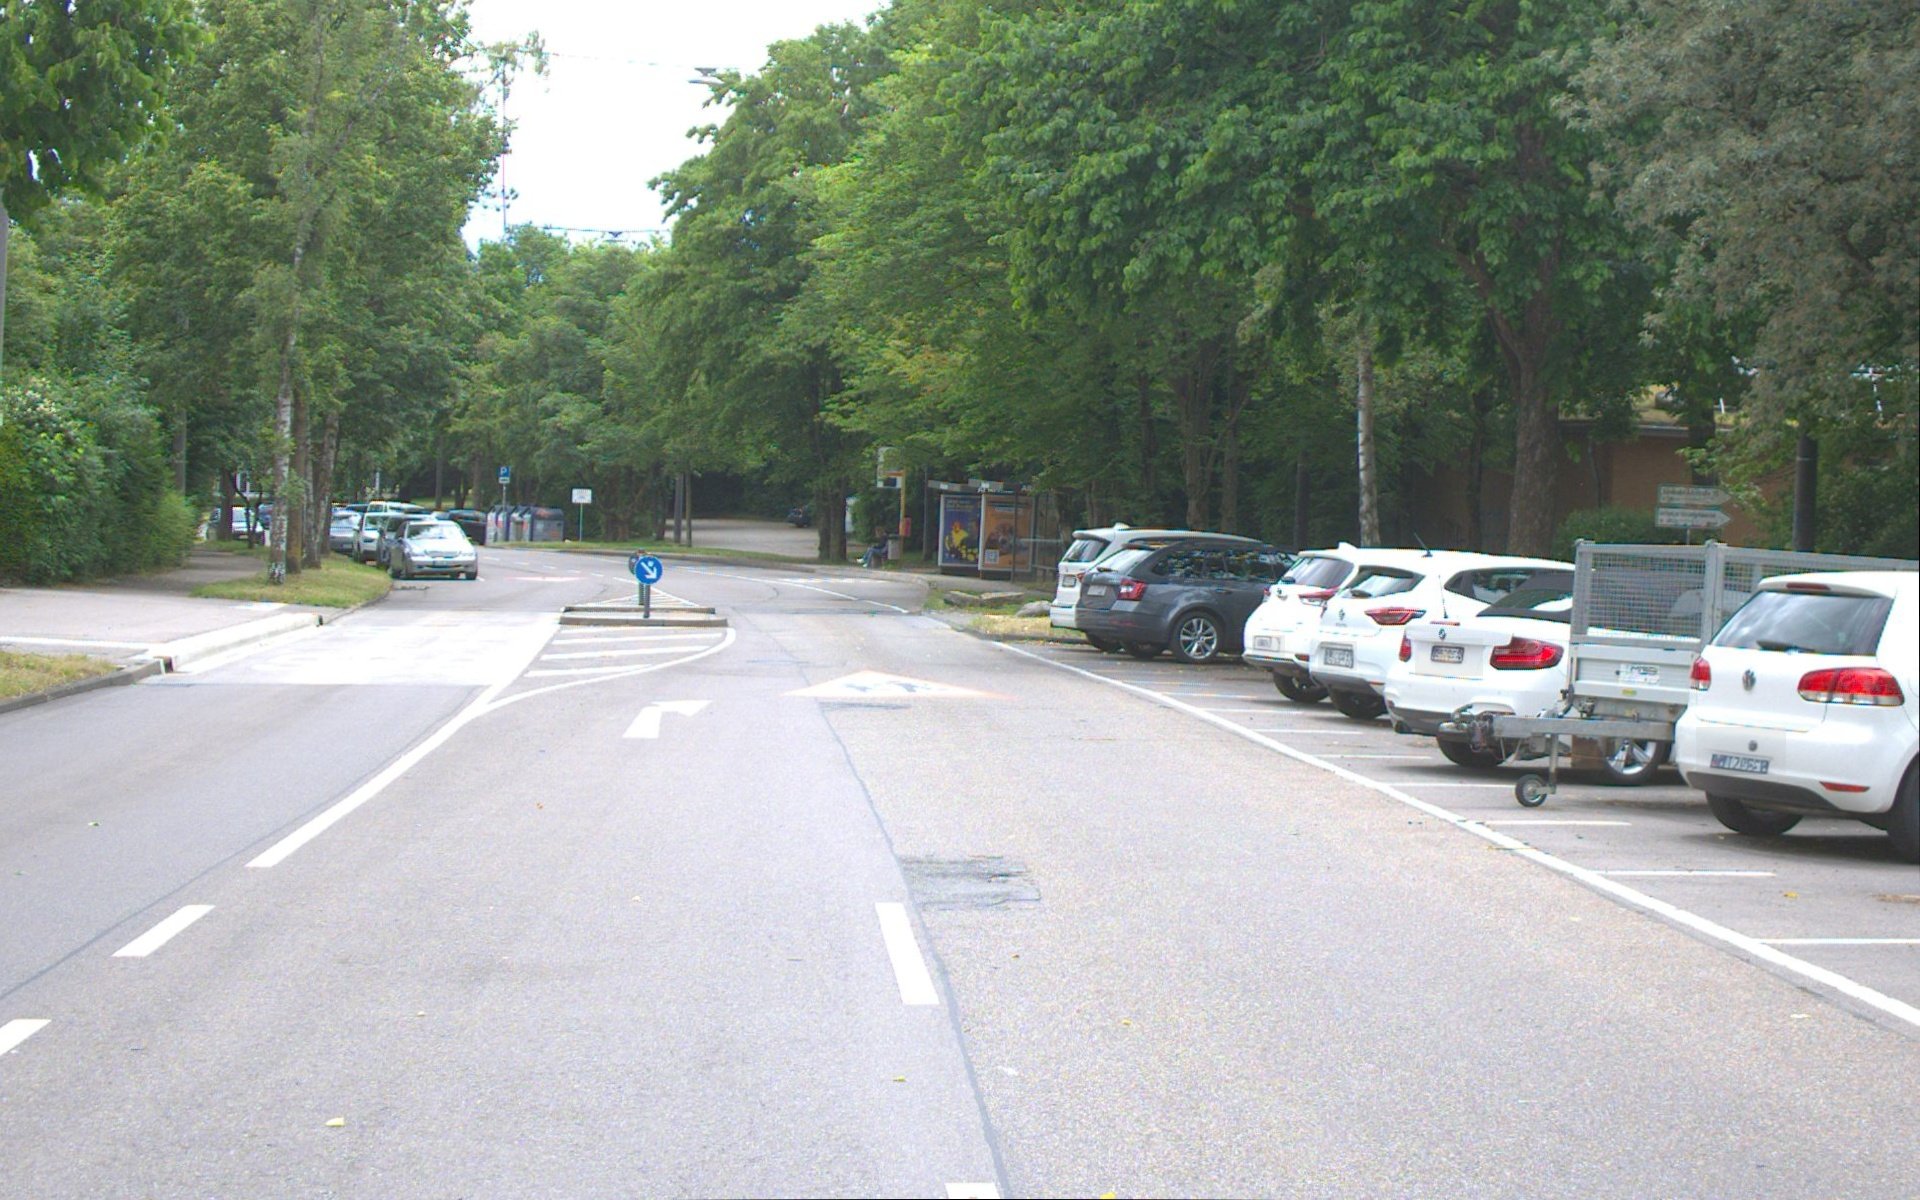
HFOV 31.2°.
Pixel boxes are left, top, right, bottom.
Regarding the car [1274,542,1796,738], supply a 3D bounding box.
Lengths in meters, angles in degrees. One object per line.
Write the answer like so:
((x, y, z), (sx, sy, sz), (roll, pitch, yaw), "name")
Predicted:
((4.860, 0.340, 29.024), (3.986, 1.459, 1.796), (2, 1, -26), "car")

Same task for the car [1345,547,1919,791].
((4.827, 0.471, 23.241), (3.986, 1.459, 1.851), (2, 1, -26), "car")

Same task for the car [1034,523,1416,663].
((3.392, -0.096, 44.283), (4.466, 1.580, 1.907), (3, 1, -14), "car")

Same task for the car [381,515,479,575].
((-12.911, -1.352, 83.629), (1.735, 1.411, 4.474), (0, 2, -17), "car")

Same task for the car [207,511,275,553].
((-28.674, -2.724, 137.068), (1.804, 1.557, 4.268), (-3, 3, -23), "car")

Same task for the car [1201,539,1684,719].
((4.456, 0.265, 31.740), (3.986, 1.459, 1.866), (2, 1, -26), "car")

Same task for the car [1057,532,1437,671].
((3.444, 0.017, 41.466), (4.131, 1.459, 1.799), (3, 1, -15), "car")

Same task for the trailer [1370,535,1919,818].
((4.629, 0.450, 20.441), (3.986, 1.547, 1.659), (1, 1, -20), "trailer")

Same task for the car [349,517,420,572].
((-16.923, -1.647, 100.966), (1.735, 1.573, 4.143), (0, 2, -14), "car")

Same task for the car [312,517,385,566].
((-19.947, -1.910, 112.028), (1.865, 1.532, 4.228), (0, 1, -17), "car")

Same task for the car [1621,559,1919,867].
((5.735, 0.615, 18.386), (3.986, 1.459, 1.792), (2, 1, -26), "car")

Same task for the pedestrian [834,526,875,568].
((-3.036, -1.527, 99.270), (1.063, 1.178, 0.580), (0, 1, -16), "pedestrian")
